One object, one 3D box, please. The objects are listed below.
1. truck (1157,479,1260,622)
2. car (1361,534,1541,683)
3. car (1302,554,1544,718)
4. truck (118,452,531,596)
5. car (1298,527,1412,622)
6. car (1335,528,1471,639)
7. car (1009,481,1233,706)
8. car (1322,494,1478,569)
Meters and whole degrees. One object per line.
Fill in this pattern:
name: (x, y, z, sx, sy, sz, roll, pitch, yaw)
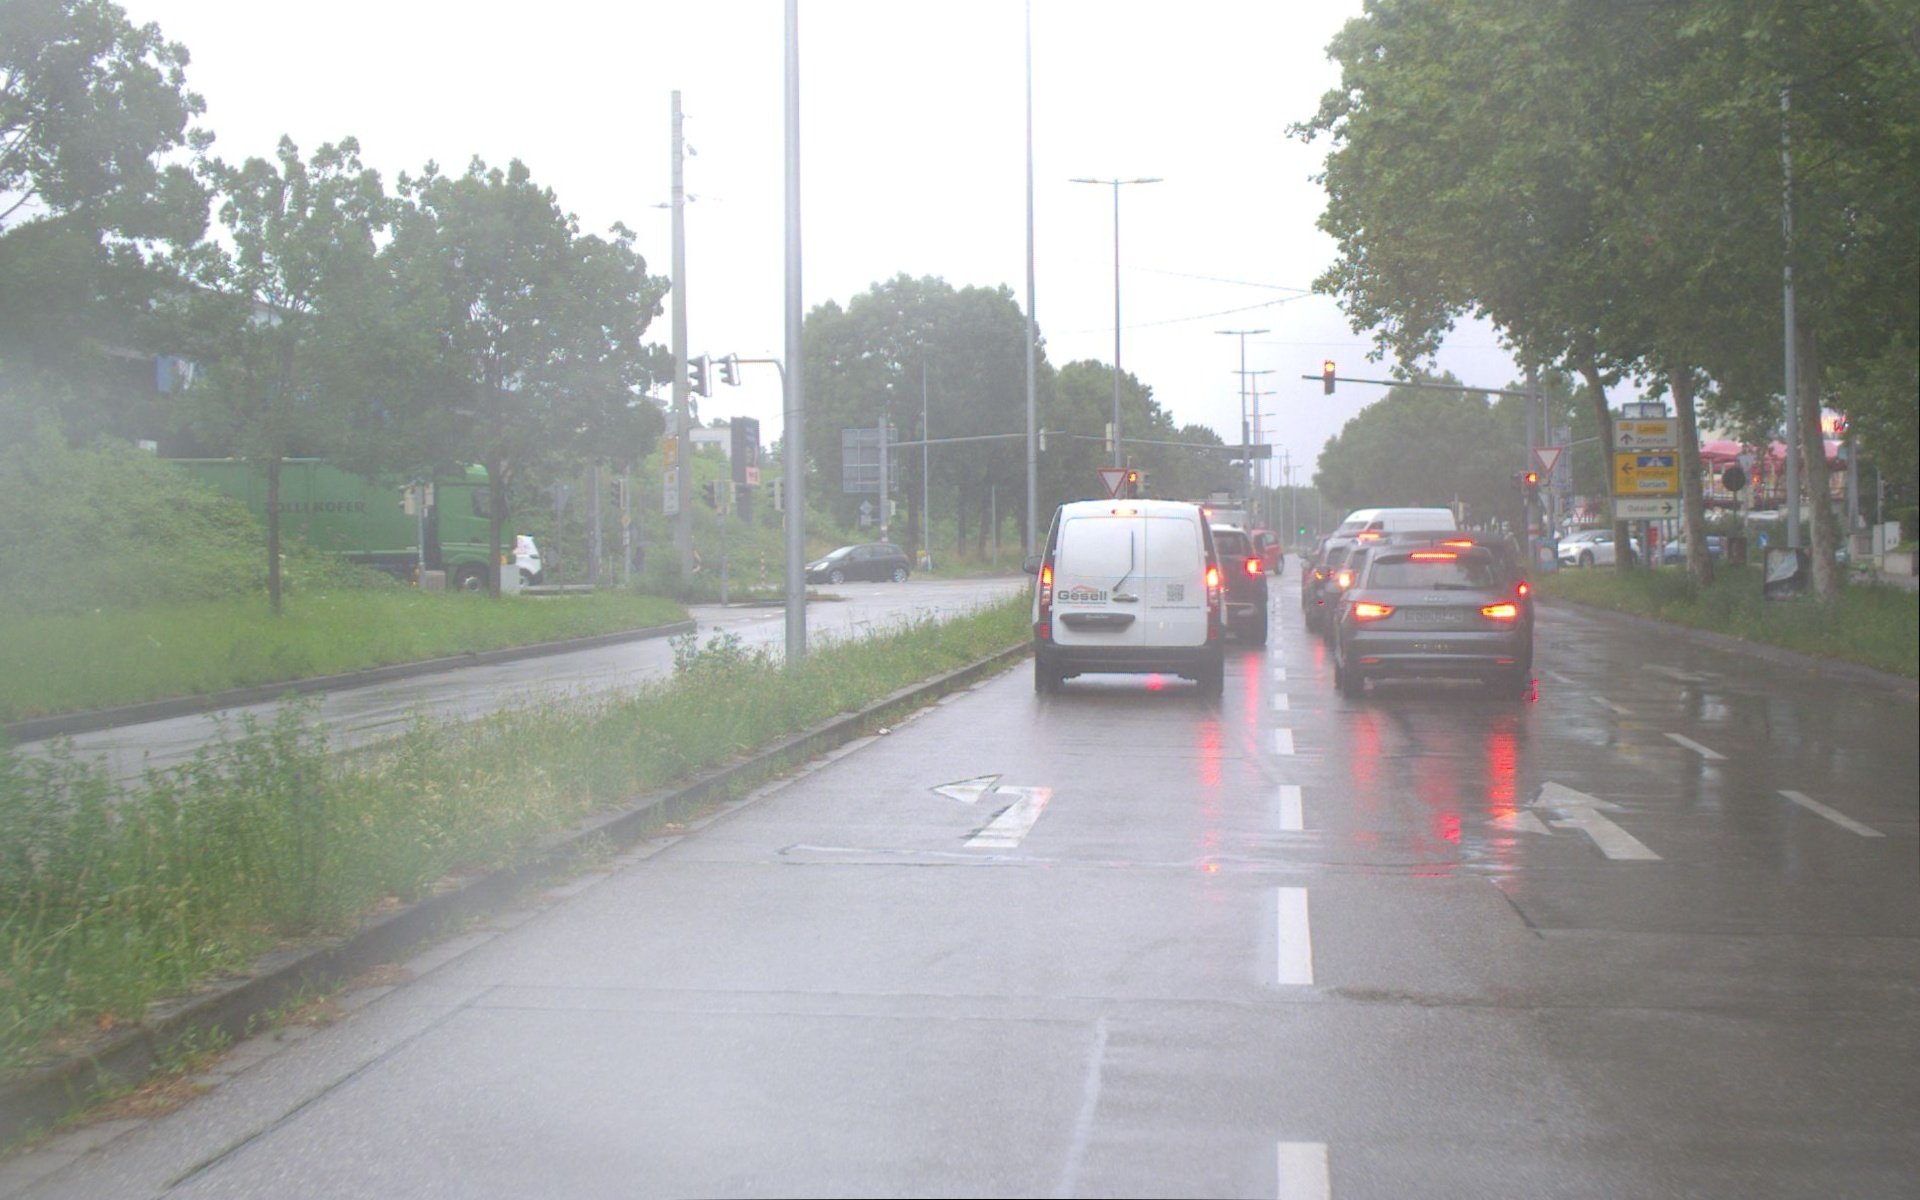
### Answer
truck: (4.402, -0.876, 61.091, 1.757, 2.458, 4.000, 0, 1, 4)
car: (5.506, 0.055, 38.964, 1.708, 1.544, 4.000, 0, 2, 4)
car: (4.334, 0.296, 32.743, 1.994, 1.447, 4.000, 1, 1, 4)
truck: (-16.222, -1.870, 88.221, 10.108, 3.440, 2.658, 1, -1, -31)
car: (6.225, -0.432, 54.492, 1.712, 1.440, 3.999, 0, 1, 5)
car: (6.024, -0.254, 47.053, 1.712, 1.440, 3.999, 0, 1, 5)
car: (1.571, -0.045, 32.850, 1.994, 2.007, 3.999, 0, 0, 4)
car: (16.967, -2.629, 132.457, 6.000, 2.734, 2.000, 1, -1, -31)
